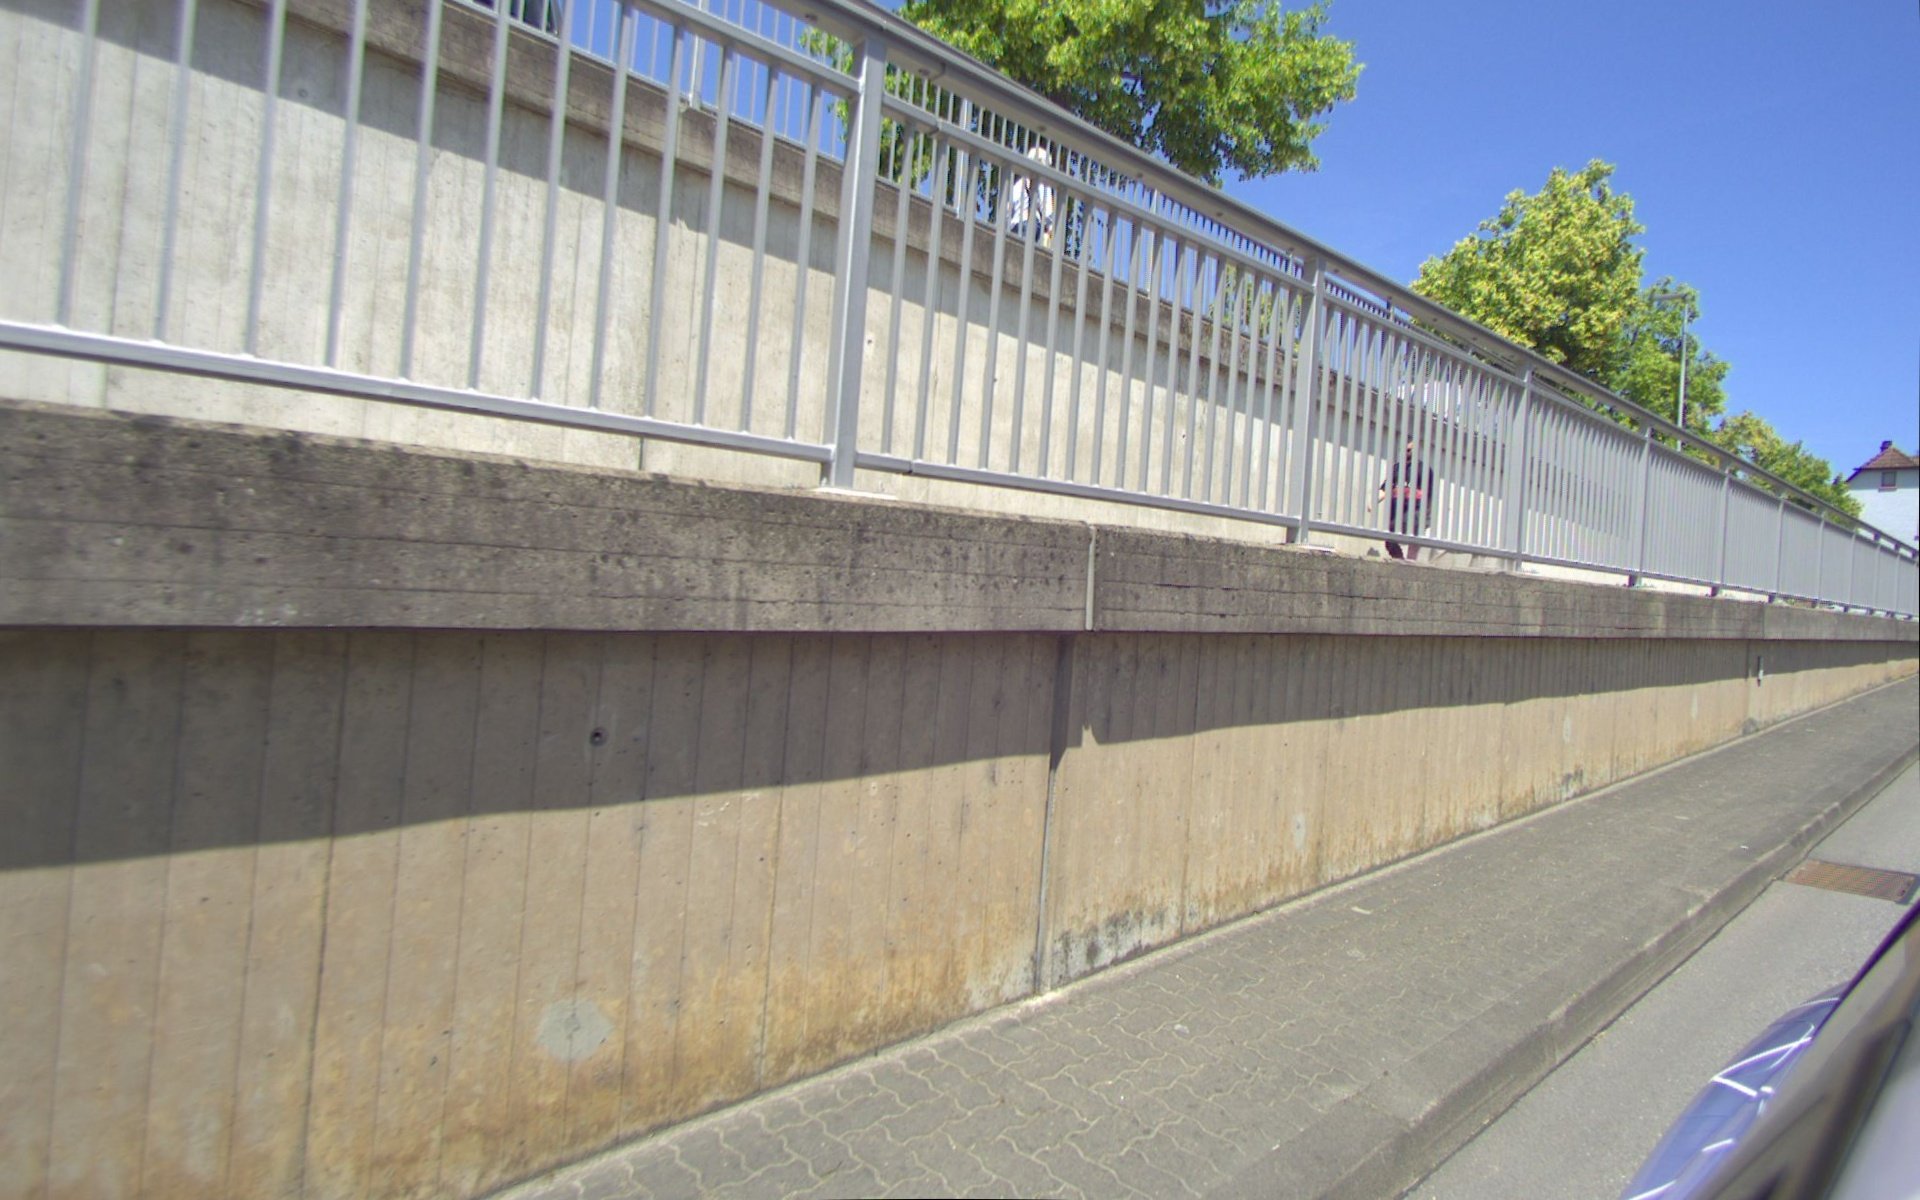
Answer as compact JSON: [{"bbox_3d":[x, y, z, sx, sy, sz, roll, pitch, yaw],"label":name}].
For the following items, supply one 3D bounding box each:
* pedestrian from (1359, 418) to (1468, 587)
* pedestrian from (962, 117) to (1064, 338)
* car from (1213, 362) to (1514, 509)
[{"bbox_3d":[5.164,-1.072,11.527,0.774,1.804,0.838,2,0,-40],"label":"pedestrian"},{"bbox_3d":[0.505,-3.533,9.728,0.583,1.802,0.674,4,-1,-39],"label":"pedestrian"},{"bbox_3d":[7.713,-3.034,19.837,1.952,2.090,5.124,4,-1,-39],"label":"car"}]
